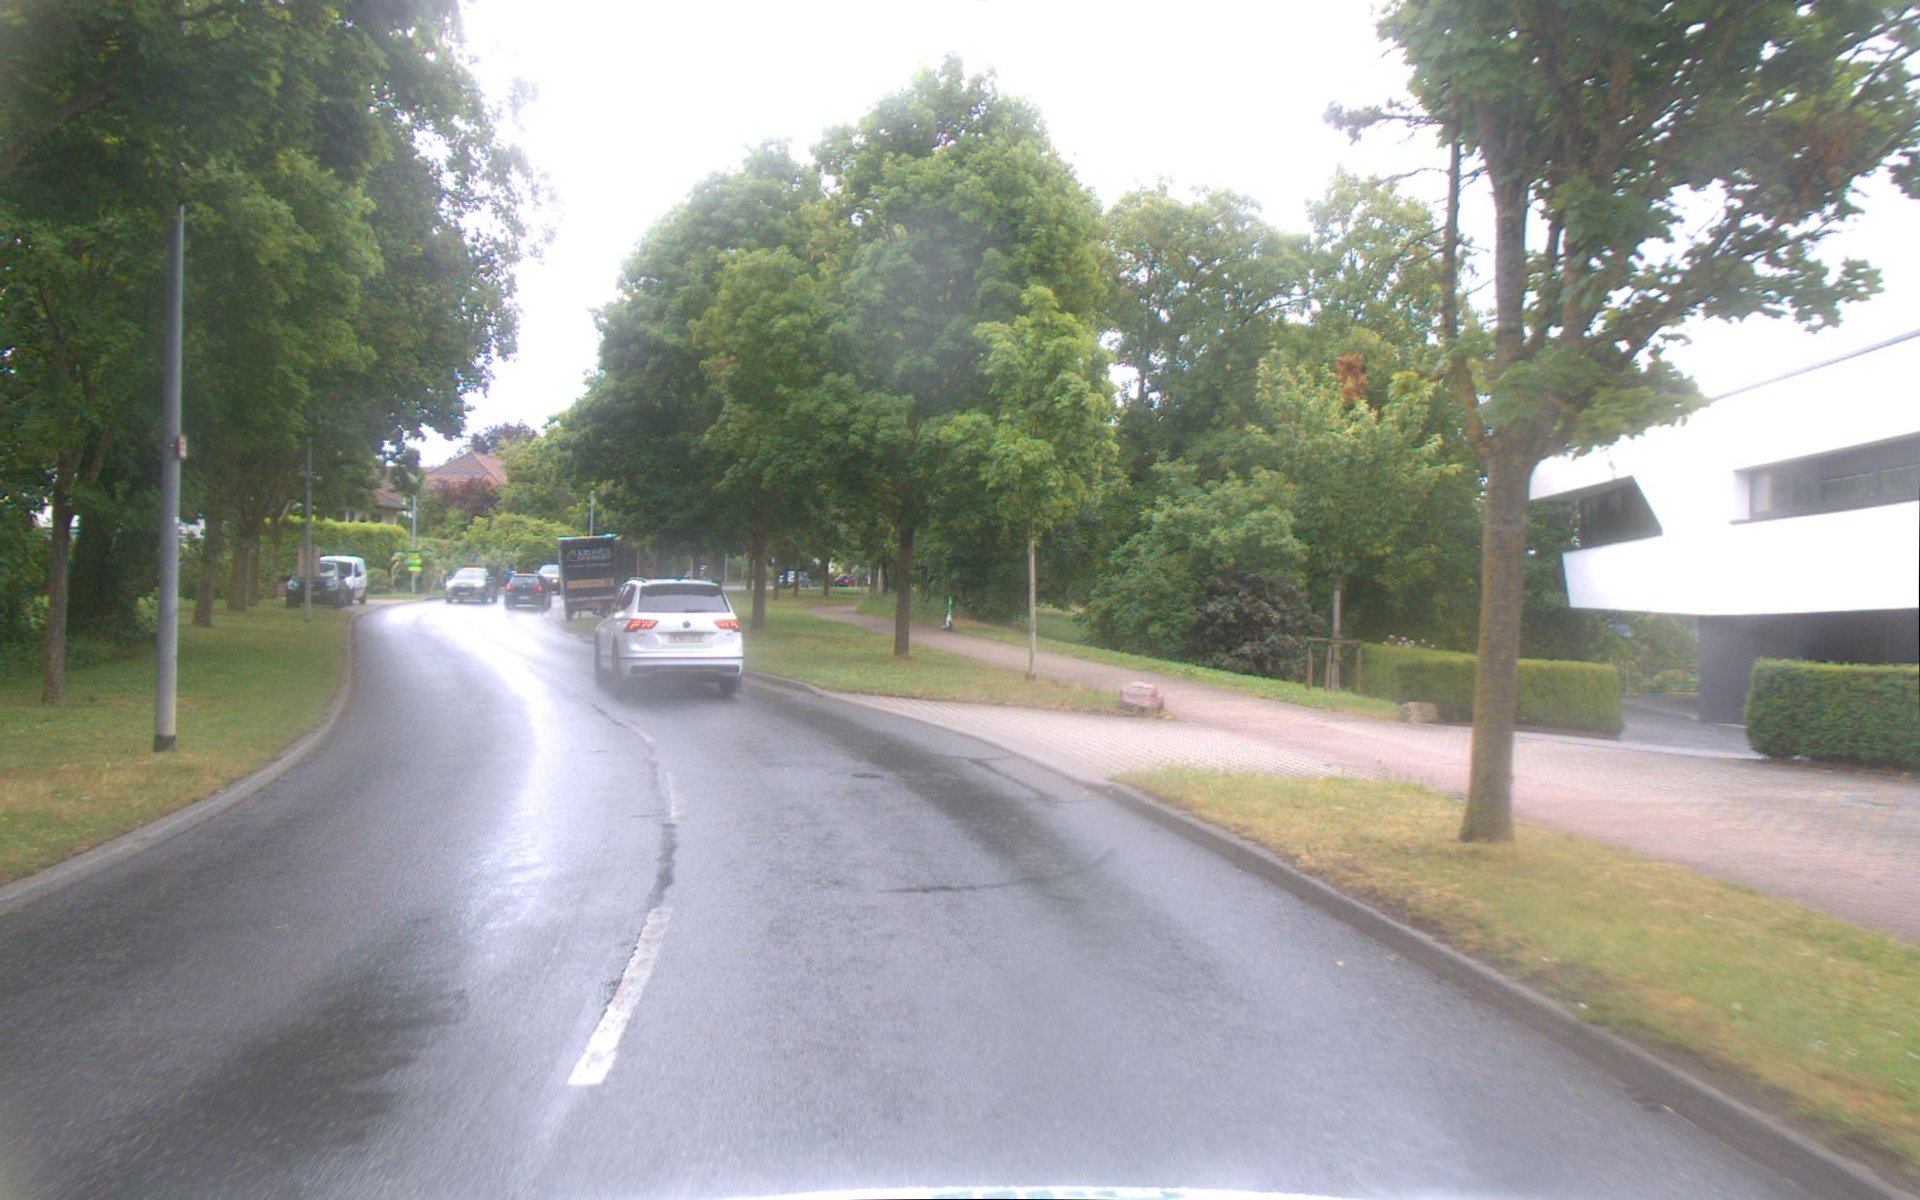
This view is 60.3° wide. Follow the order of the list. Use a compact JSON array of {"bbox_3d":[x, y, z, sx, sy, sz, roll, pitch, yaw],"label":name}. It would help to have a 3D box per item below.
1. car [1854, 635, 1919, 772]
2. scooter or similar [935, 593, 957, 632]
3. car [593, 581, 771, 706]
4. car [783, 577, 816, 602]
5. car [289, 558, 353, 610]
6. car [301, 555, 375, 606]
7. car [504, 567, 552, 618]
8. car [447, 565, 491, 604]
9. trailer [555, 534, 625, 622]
[{"bbox_3d":[12.028,1.246,18.445,1.880,1.577,4.462,3,-1,4],"label":"car"},{"bbox_3d":[-0.437,0.366,51.220,0.455,1.166,1.297,-1,1,-12],"label":"scooter or similar"},{"bbox_3d":[-4.252,0.591,24.757,1.945,1.682,4.153,-1,0,-19],"label":"car"},{"bbox_3d":[-13.235,-0.846,136.520,1.952,1.836,4.002,3,-1,5],"label":"car"},{"bbox_3d":[-22.618,-0.571,58.684,1.723,1.669,4.570,3,-1,-17],"label":"car"},{"bbox_3d":[-23.927,-0.743,63.745,1.765,1.827,4.363,2,0,-10],"label":"car"},{"bbox_3d":[-18.699,-0.335,71.575,1.870,2.049,3.928,3,-1,-15],"label":"car"},{"bbox_3d":[-22.380,-0.718,75.488,1.760,1.564,4.076,3,1,-15],"label":"car"},{"bbox_3d":[-13.237,-0.814,58.951,1.962,2.856,5.584,-4,2,-16],"label":"trailer"}]
